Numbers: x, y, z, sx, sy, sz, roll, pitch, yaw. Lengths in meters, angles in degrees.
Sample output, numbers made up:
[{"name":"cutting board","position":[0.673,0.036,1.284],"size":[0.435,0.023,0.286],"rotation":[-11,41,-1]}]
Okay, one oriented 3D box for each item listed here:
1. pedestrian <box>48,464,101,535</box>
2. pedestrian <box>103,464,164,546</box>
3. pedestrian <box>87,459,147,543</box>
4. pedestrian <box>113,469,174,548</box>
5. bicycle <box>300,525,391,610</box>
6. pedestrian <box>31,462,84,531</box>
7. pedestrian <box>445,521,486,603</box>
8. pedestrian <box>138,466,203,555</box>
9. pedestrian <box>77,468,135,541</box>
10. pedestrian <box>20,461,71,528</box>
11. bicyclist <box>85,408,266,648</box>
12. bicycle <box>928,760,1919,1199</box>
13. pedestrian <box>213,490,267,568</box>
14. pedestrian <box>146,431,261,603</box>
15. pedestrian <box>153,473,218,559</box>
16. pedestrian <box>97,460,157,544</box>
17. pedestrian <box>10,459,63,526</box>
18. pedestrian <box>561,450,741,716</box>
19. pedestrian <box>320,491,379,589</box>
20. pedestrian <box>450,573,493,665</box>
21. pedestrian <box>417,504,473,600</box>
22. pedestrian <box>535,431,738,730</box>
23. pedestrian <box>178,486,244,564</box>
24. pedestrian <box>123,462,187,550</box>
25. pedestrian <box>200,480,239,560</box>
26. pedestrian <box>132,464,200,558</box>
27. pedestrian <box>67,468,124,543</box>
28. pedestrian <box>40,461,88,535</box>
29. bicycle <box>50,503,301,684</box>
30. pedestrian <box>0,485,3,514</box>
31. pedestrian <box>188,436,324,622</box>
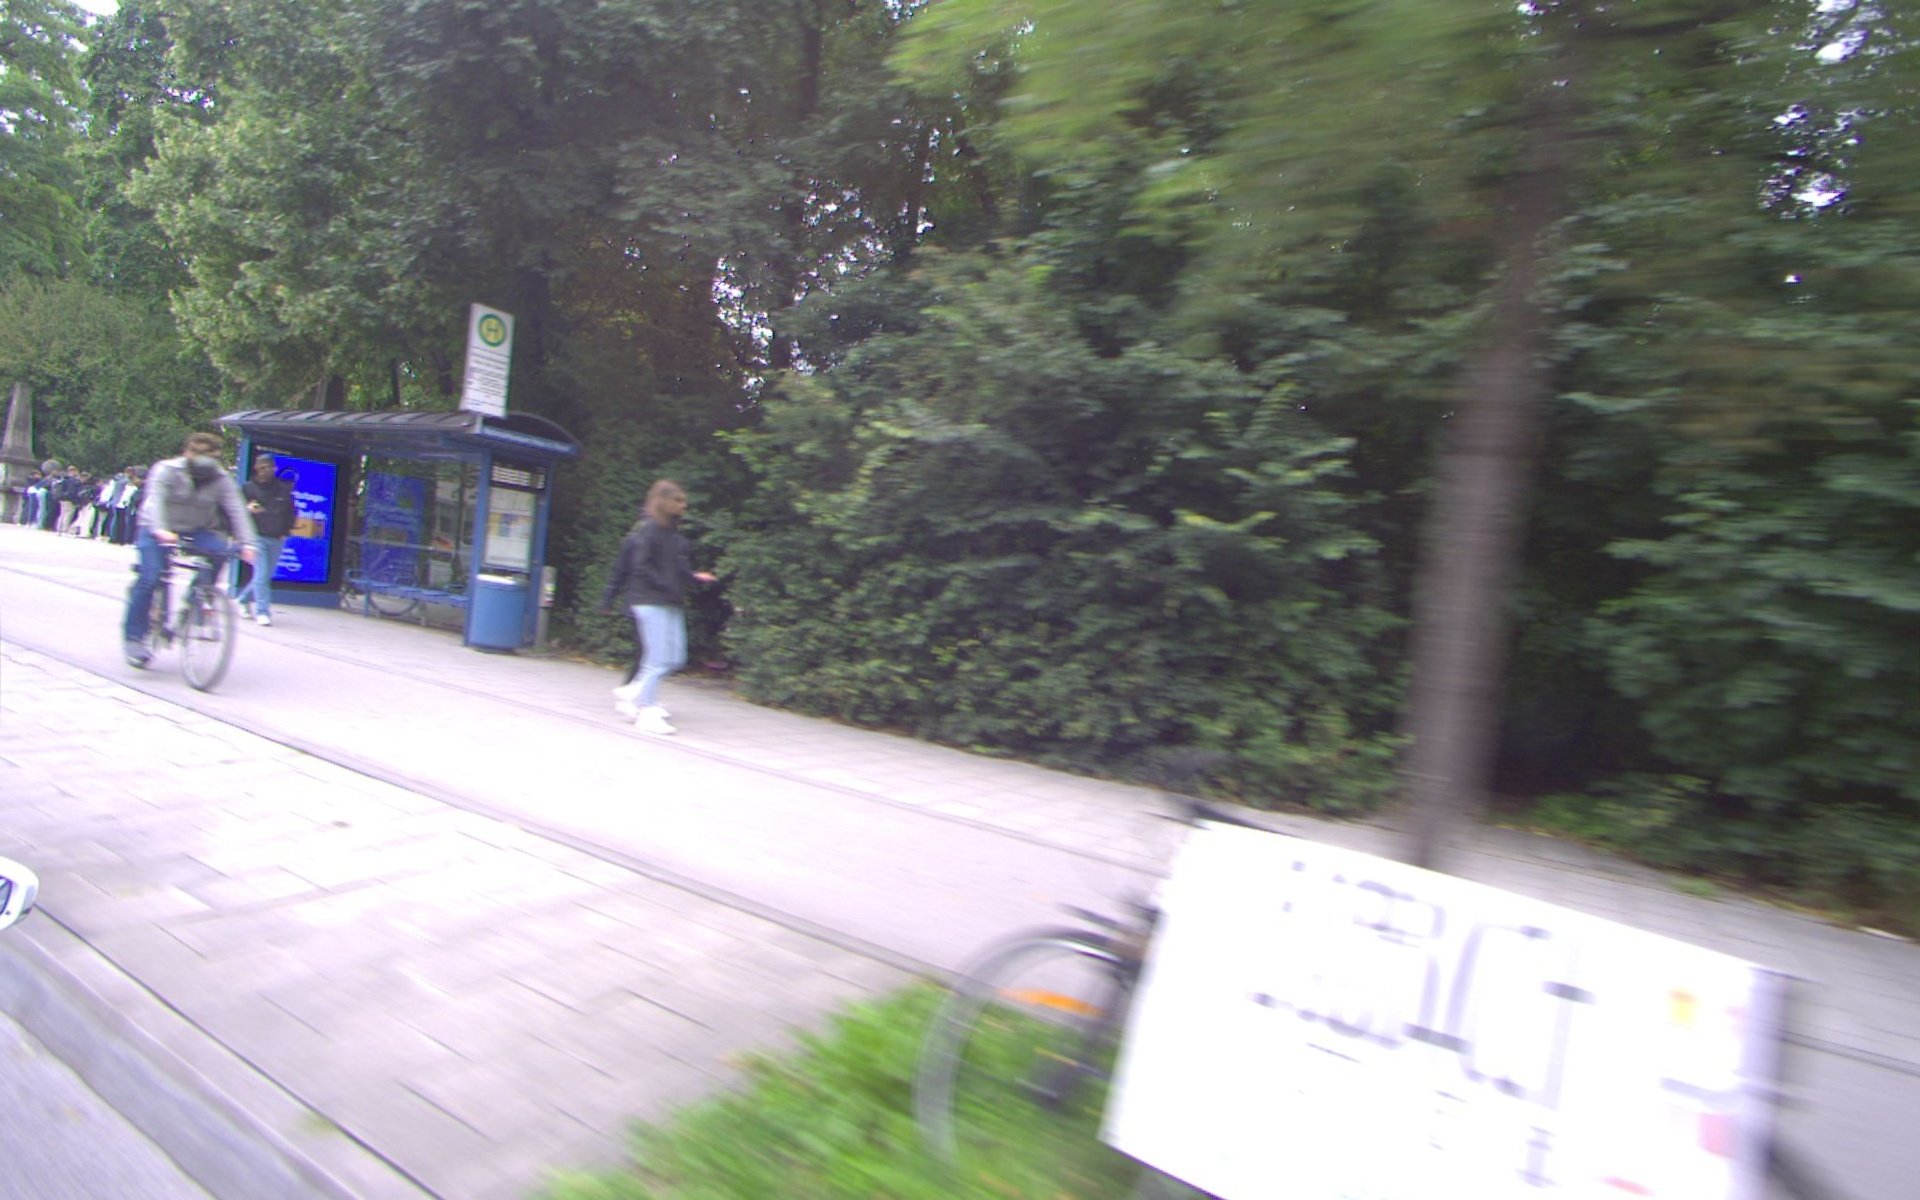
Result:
[{"name":"pedestrian","position":[-23.009,-2.594,26.143],"size":[0.717,1.713,0.812],"rotation":[7,2,34]},{"name":"pedestrian","position":[-19.843,-2.282,24.161],"size":[0.717,1.812,0.813],"rotation":[7,0,34]},{"name":"pedestrian","position":[-21.025,-2.464,25.086],"size":[0.717,1.940,0.813],"rotation":[7,0,34]},{"name":"pedestrian","position":[-19.272,-2.144,23.758],"size":[0.663,1.711,0.813],"rotation":[7,0,34]},{"name":"bicycle","position":[-9.086,-0.491,14.855],"size":[1.550,1.073,0.393],"rotation":[7,0,31]},{"name":"pedestrian","position":[-24.390,-2.785,27.176],"size":[0.717,1.712,0.812],"rotation":[7,1,34]},{"name":"pedestrian","position":[-9.710,-0.745,19.753],"size":[0.435,1.526,0.421],"rotation":[7,0,34]},{"name":"pedestrian","position":[-18.017,-2.037,22.964],"size":[0.717,1.874,0.813],"rotation":[7,0,34]},{"name":"pedestrian","position":[-21.667,-2.415,25.517],"size":[0.717,1.711,0.813],"rotation":[7,0,34]},{"name":"pedestrian","position":[-25.062,-2.877,27.559],"size":[0.717,1.713,0.812],"rotation":[7,2,34]},{"name":"bicyclist","position":[-5.594,-0.500,7.189],"size":[0.628,1.581,0.709],"rotation":[7,0,31]},{"name":"bicycle","position":[0.880,0.928,2.163],"size":[1.858,0.804,0.494],"rotation":[7,0,32]},{"name":"pedestrian","position":[-15.081,-1.485,21.084],"size":[0.524,1.525,0.636],"rotation":[7,0,34]},{"name":"pedestrian","position":[-8.628,-0.931,11.485],"size":[0.628,1.830,0.709],"rotation":[7,0,31]},{"name":"pedestrian","position":[-17.345,-1.874,22.537],"size":[0.717,1.789,0.813],"rotation":[7,0,34]},{"name":"pedestrian","position":[-20.419,-2.403,24.657],"size":[0.717,1.897,0.813],"rotation":[7,0,34]},{"name":"pedestrian","position":[-25.830,-2.999,28.143],"size":[0.717,1.711,0.813],"rotation":[7,0,34]},{"name":"pedestrian","position":[-2.430,-0.130,7.927],"size":[0.940,1.938,0.709],"rotation":[7,0,31]},{"name":"pedestrian","position":[-11.723,-1.147,19.325],"size":[0.524,1.789,0.636],"rotation":[7,0,34]},{"name":"pedestrian","position":[-9.493,0.375,19.542],"size":[0.435,1.724,0.421],"rotation":[7,0,34]},{"name":"pedestrian","position":[-10.186,-0.946,19.899],"size":[0.524,1.789,0.636],"rotation":[7,0,34]},{"name":"pedestrian","position":[-2.267,-0.137,7.059],"size":[0.940,1.938,0.709],"rotation":[7,0,31]},{"name":"pedestrian","position":[-16.121,-1.612,21.661],"size":[0.717,1.525,0.813],"rotation":[7,0,34]},{"name":"pedestrian","position":[-18.682,-2.173,23.349],"size":[0.717,1.874,0.813],"rotation":[7,0,34]},{"name":"pedestrian","position":[-16.573,-1.793,22.512],"size":[0.435,1.724,0.420],"rotation":[7,0,35]},{"name":"pedestrian","position":[-17.020,-1.907,21.577],"size":[0.717,1.851,0.813],"rotation":[7,0,34]},{"name":"pedestrian","position":[-22.255,-2.432,25.890],"size":[0.717,1.760,0.813],"rotation":[7,0,34]},{"name":"pedestrian","position":[-22.304,-2.542,25.037],"size":[0.717,1.711,0.592],"rotation":[7,0,34]},{"name":"bicycle","position":[-5.612,-0.068,7.162],"size":[1.979,1.043,0.676],"rotation":[7,0,31]},{"name":"pedestrian","position":[-25.308,-2.437,26.137],"size":[0.638,1.167,0.458],"rotation":[7,0,36]},{"name":"pedestrian","position":[-7.511,-0.752,10.738],"size":[0.934,1.830,0.709],"rotation":[7,0,31]}]
